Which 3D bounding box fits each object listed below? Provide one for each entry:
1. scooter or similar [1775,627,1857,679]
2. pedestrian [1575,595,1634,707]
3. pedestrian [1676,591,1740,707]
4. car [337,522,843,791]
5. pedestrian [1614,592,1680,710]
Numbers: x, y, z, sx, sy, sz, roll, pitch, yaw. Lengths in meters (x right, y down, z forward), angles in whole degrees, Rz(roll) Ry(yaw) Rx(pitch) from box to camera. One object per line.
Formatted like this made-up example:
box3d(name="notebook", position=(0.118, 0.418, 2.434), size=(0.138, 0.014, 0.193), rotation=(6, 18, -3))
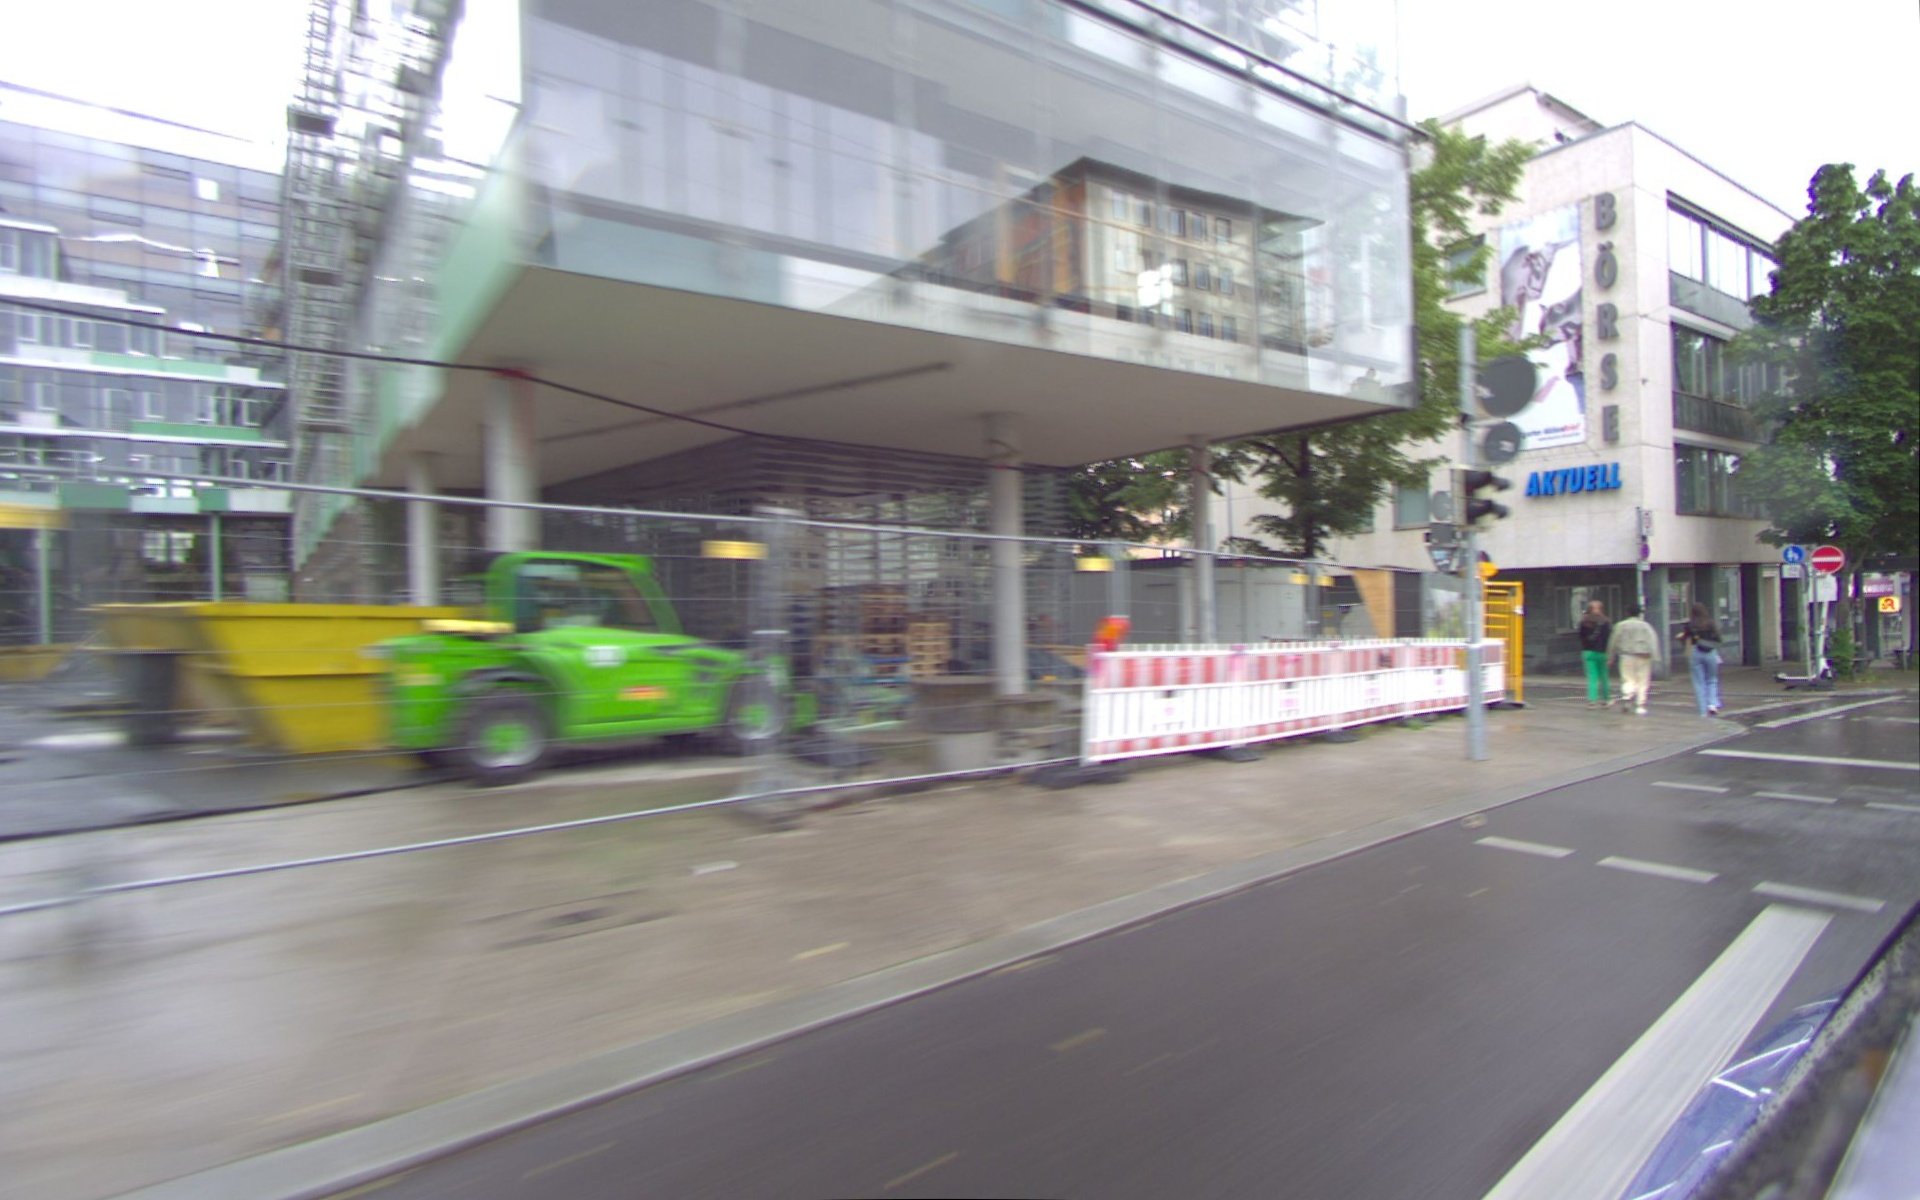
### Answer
box3d(name="scooter or similar", position=(20.240, 1.235, 23.954), size=(1.367, 1.195, 0.508), rotation=(-1, -1, 21))
box3d(name="pedestrian", position=(10.644, 0.821, 16.721), size=(0.830, 1.784, 0.598), rotation=(1, -1, -41))
box3d(name="pedestrian", position=(11.914, 0.758, 16.113), size=(0.718, 1.784, 0.944), rotation=(-1, -1, 43))
box3d(name="car", position=(-3.368, 0.435, 9.742), size=(2.010, 2.008, 4.133), rotation=(-1, -1, 44))
box3d(name="pedestrian", position=(10.747, 0.773, 15.823), size=(0.718, 1.784, 0.944), rotation=(-1, -1, 43))
